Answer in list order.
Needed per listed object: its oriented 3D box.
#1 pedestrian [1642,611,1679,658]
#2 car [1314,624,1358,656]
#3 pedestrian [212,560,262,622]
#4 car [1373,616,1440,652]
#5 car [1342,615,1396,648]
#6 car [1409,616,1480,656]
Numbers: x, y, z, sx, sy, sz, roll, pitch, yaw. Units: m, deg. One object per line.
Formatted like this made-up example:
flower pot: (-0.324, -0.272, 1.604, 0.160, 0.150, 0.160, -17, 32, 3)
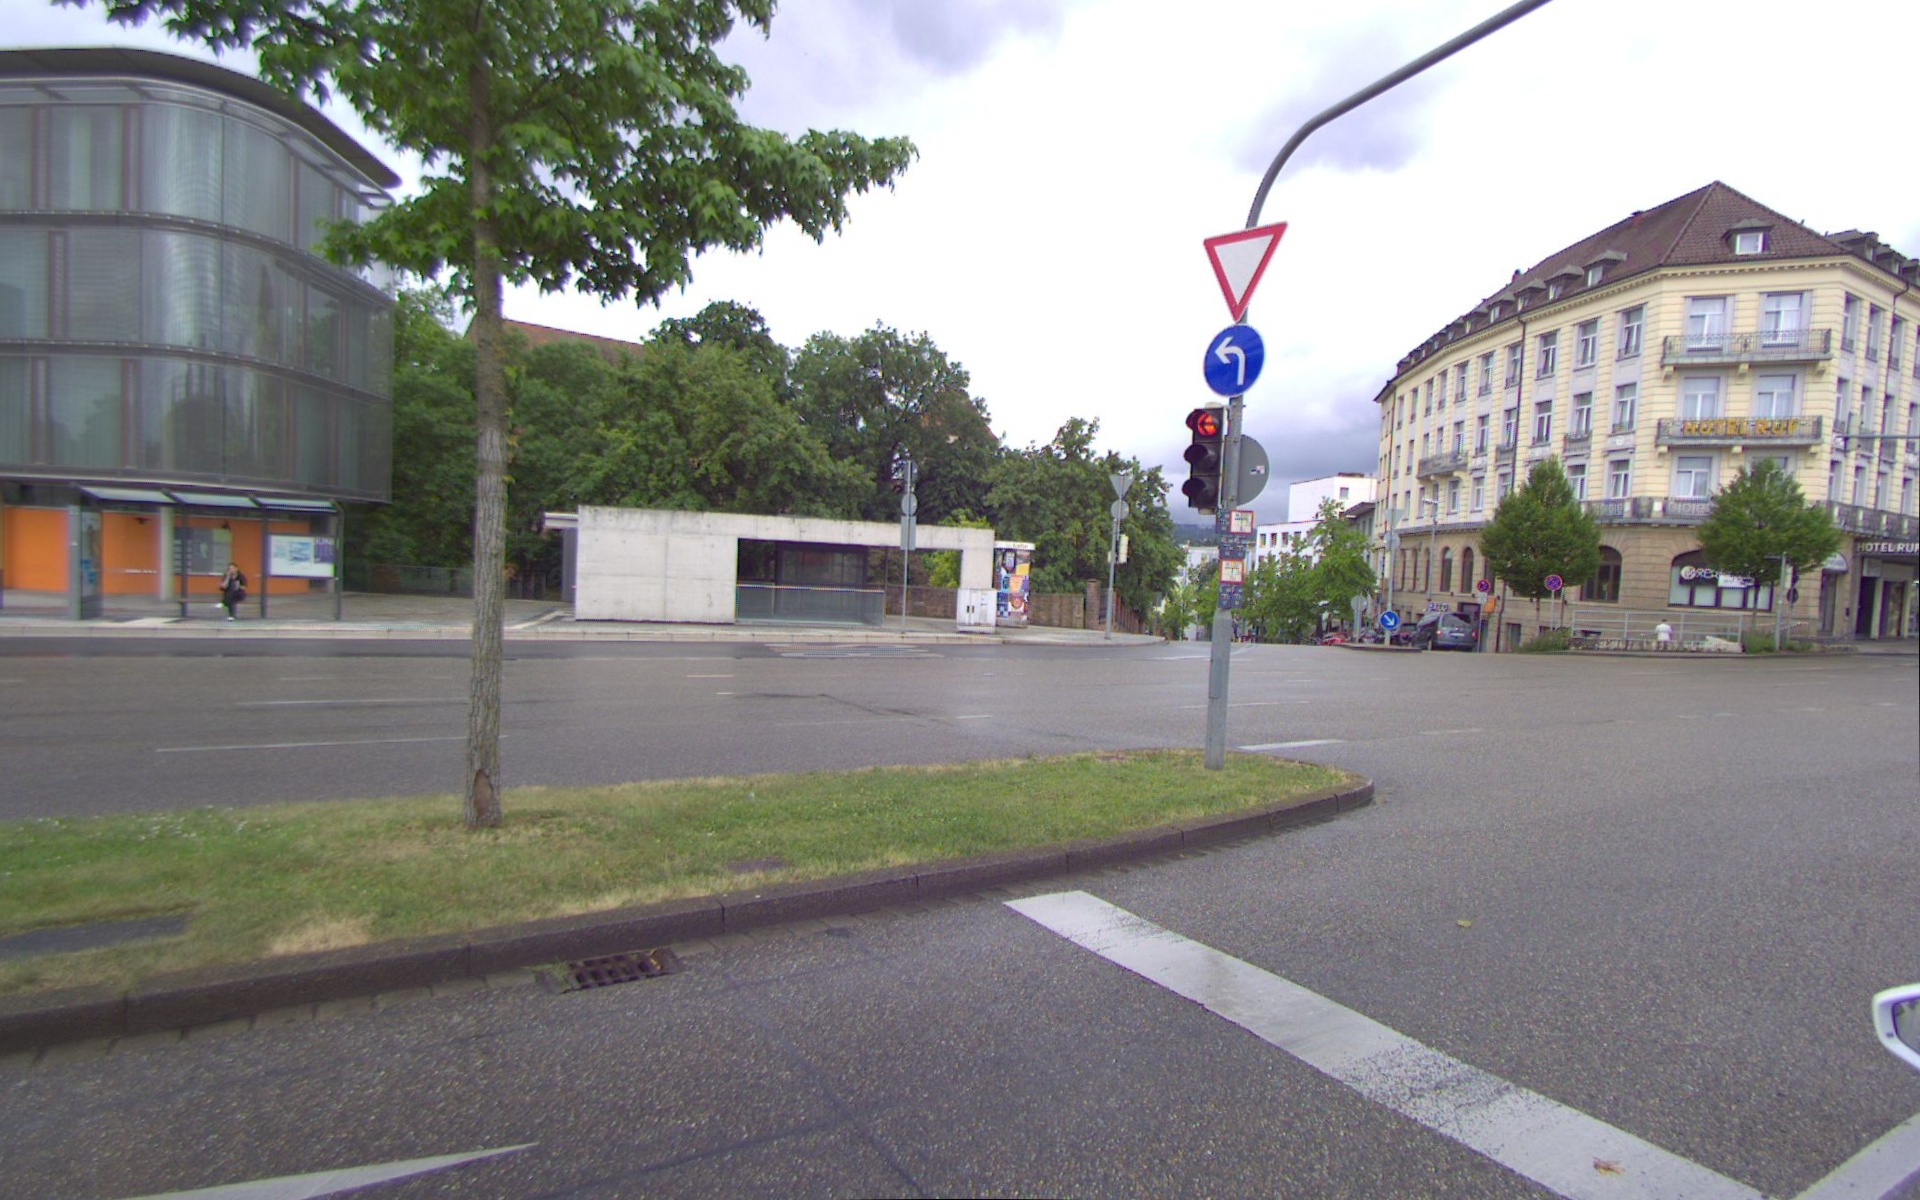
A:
pedestrian: (29.113, 1.423, 41.744, 1.010, 1.903, 0.859, 1, 1, -30)
car: (23.576, 2.479, 63.052, 1.741, 1.836, 3.624, 2, 1, 7)
pedestrian: (-16.092, -0.191, 22.382, 0.780, 1.341, 0.798, 1, 1, -28)
car: (22.898, 1.718, 51.699, 1.959, 1.662, 4.002, 2, 0, 6)
car: (23.153, 1.774, 56.998, 1.757, 1.662, 3.916, 2, 1, 6)
car: (21.726, 1.576, 45.192, 1.764, 1.589, 4.002, 2, 1, 9)
